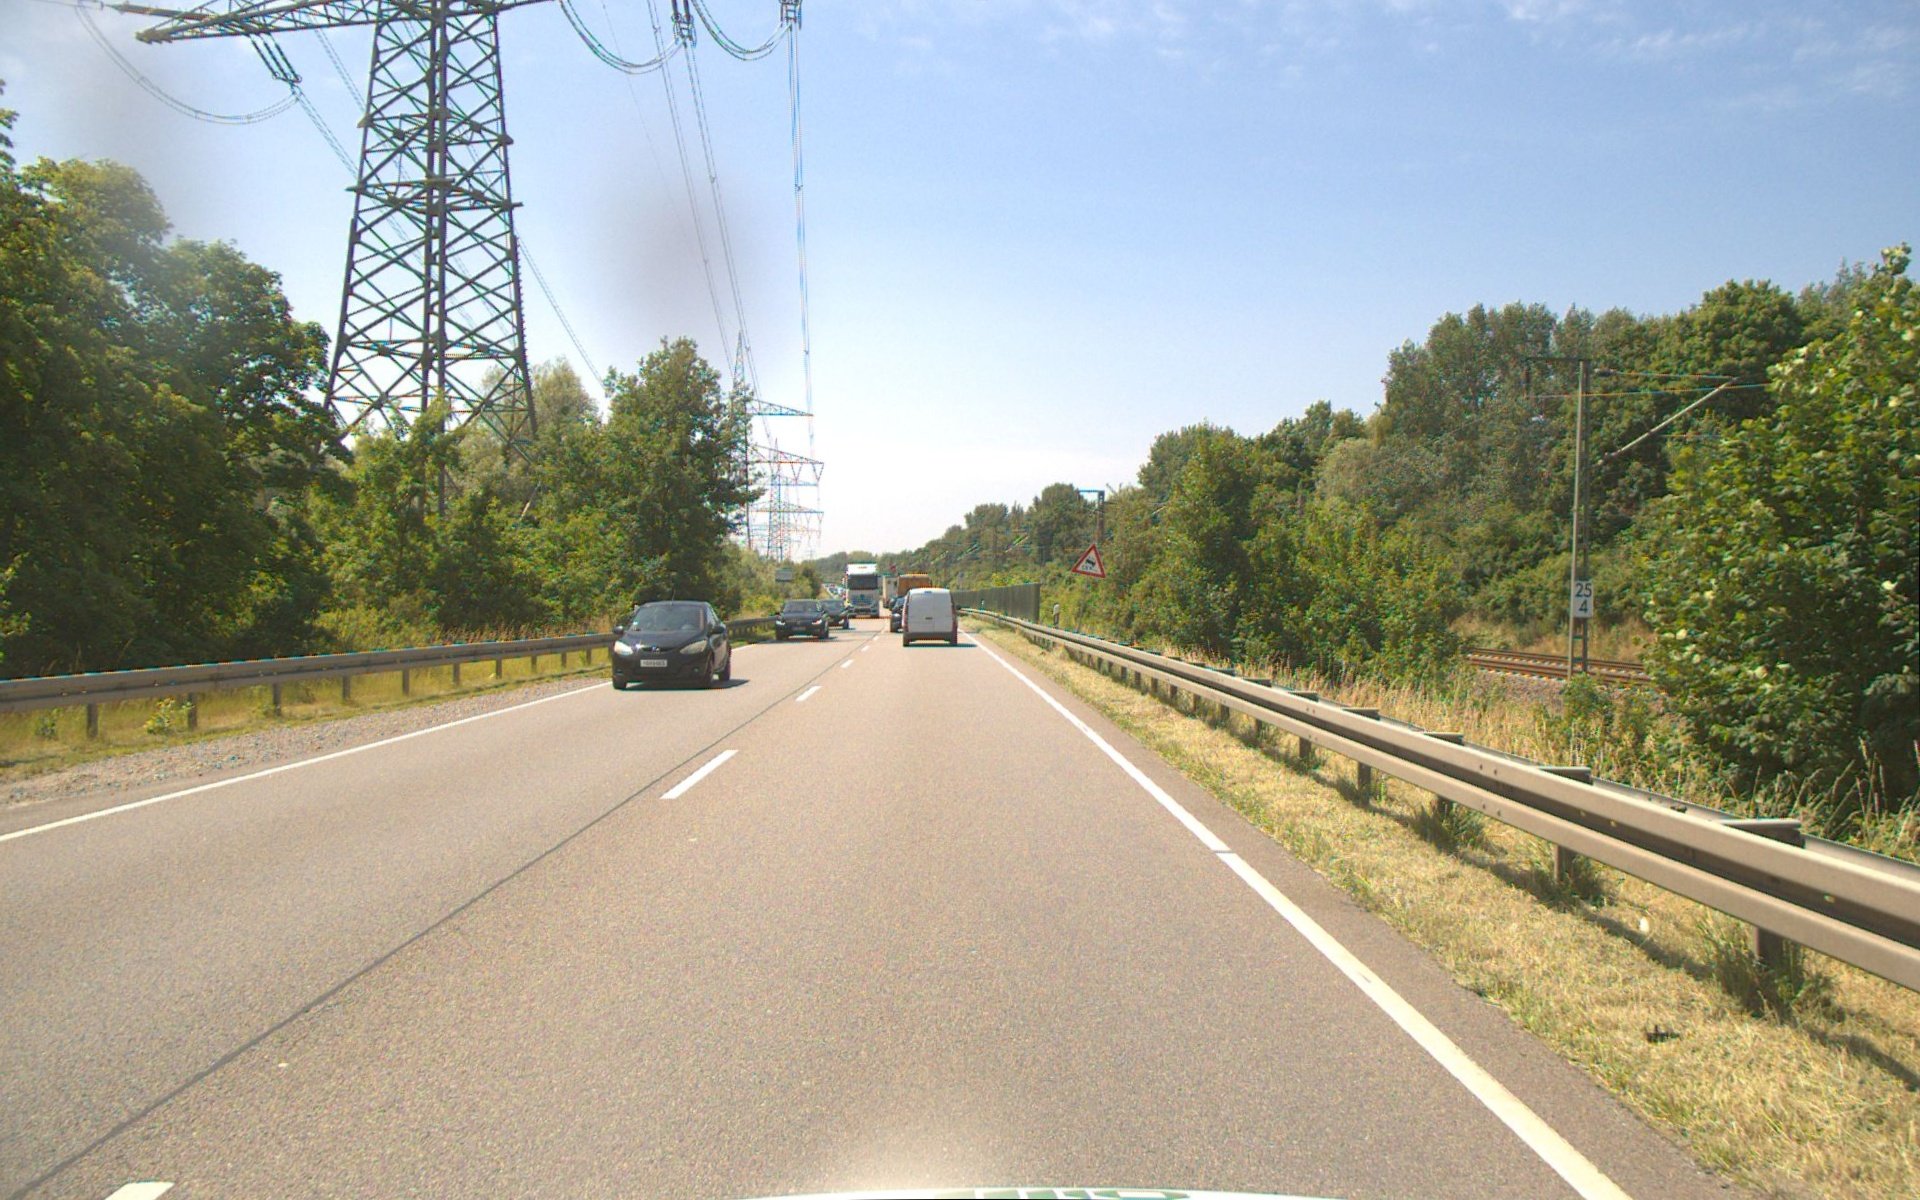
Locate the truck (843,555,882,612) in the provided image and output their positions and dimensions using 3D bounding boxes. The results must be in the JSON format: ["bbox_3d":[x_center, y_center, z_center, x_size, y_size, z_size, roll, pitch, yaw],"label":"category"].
[{"bbox_3d":[-7.412,-1.235,127.213,2.687,4.112,9.660,-1,0,-2],"label":"truck"}]

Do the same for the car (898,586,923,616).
[{"bbox_3d":[-3.548,0.072,117.836,1.728,2.049,3.998,0,0,-3],"label":"car"}]

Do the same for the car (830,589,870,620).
[{"bbox_3d":[-5.363,0.209,81.064,1.764,1.480,3.999,-1,0,-1],"label":"car"}]

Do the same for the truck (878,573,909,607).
[{"bbox_3d":[-8.554,-1.397,210.050,3.335,3.921,16.806,3,1,-4],"label":"truck"}]

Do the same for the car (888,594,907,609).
[{"bbox_3d":[-6.740,0.187,177.919,1.953,1.553,3.998,0,0,-2],"label":"car"}]

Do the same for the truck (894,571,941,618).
[{"bbox_3d":[-3.400,-0.521,129.472,3.231,3.227,14.398,3,1,-3],"label":"truck"}]

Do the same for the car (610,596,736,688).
[{"bbox_3d":[-4.939,0.681,28.981,1.601,1.462,4.412,0,0,-2],"label":"car"}]

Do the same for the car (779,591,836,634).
[{"bbox_3d":[-5.705,0.452,62.123,1.807,1.523,3.999,0,0,-1],"label":"car"}]

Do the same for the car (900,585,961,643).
[{"bbox_3d":[-0.938,0.427,52.783,1.837,1.772,3.999,-1,0,-1],"label":"car"}]

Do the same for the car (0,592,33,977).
[{"bbox_3d":[-4.423,0.702,4.399,1.600,1.462,4.179,0,0,-1],"label":"car"}]
